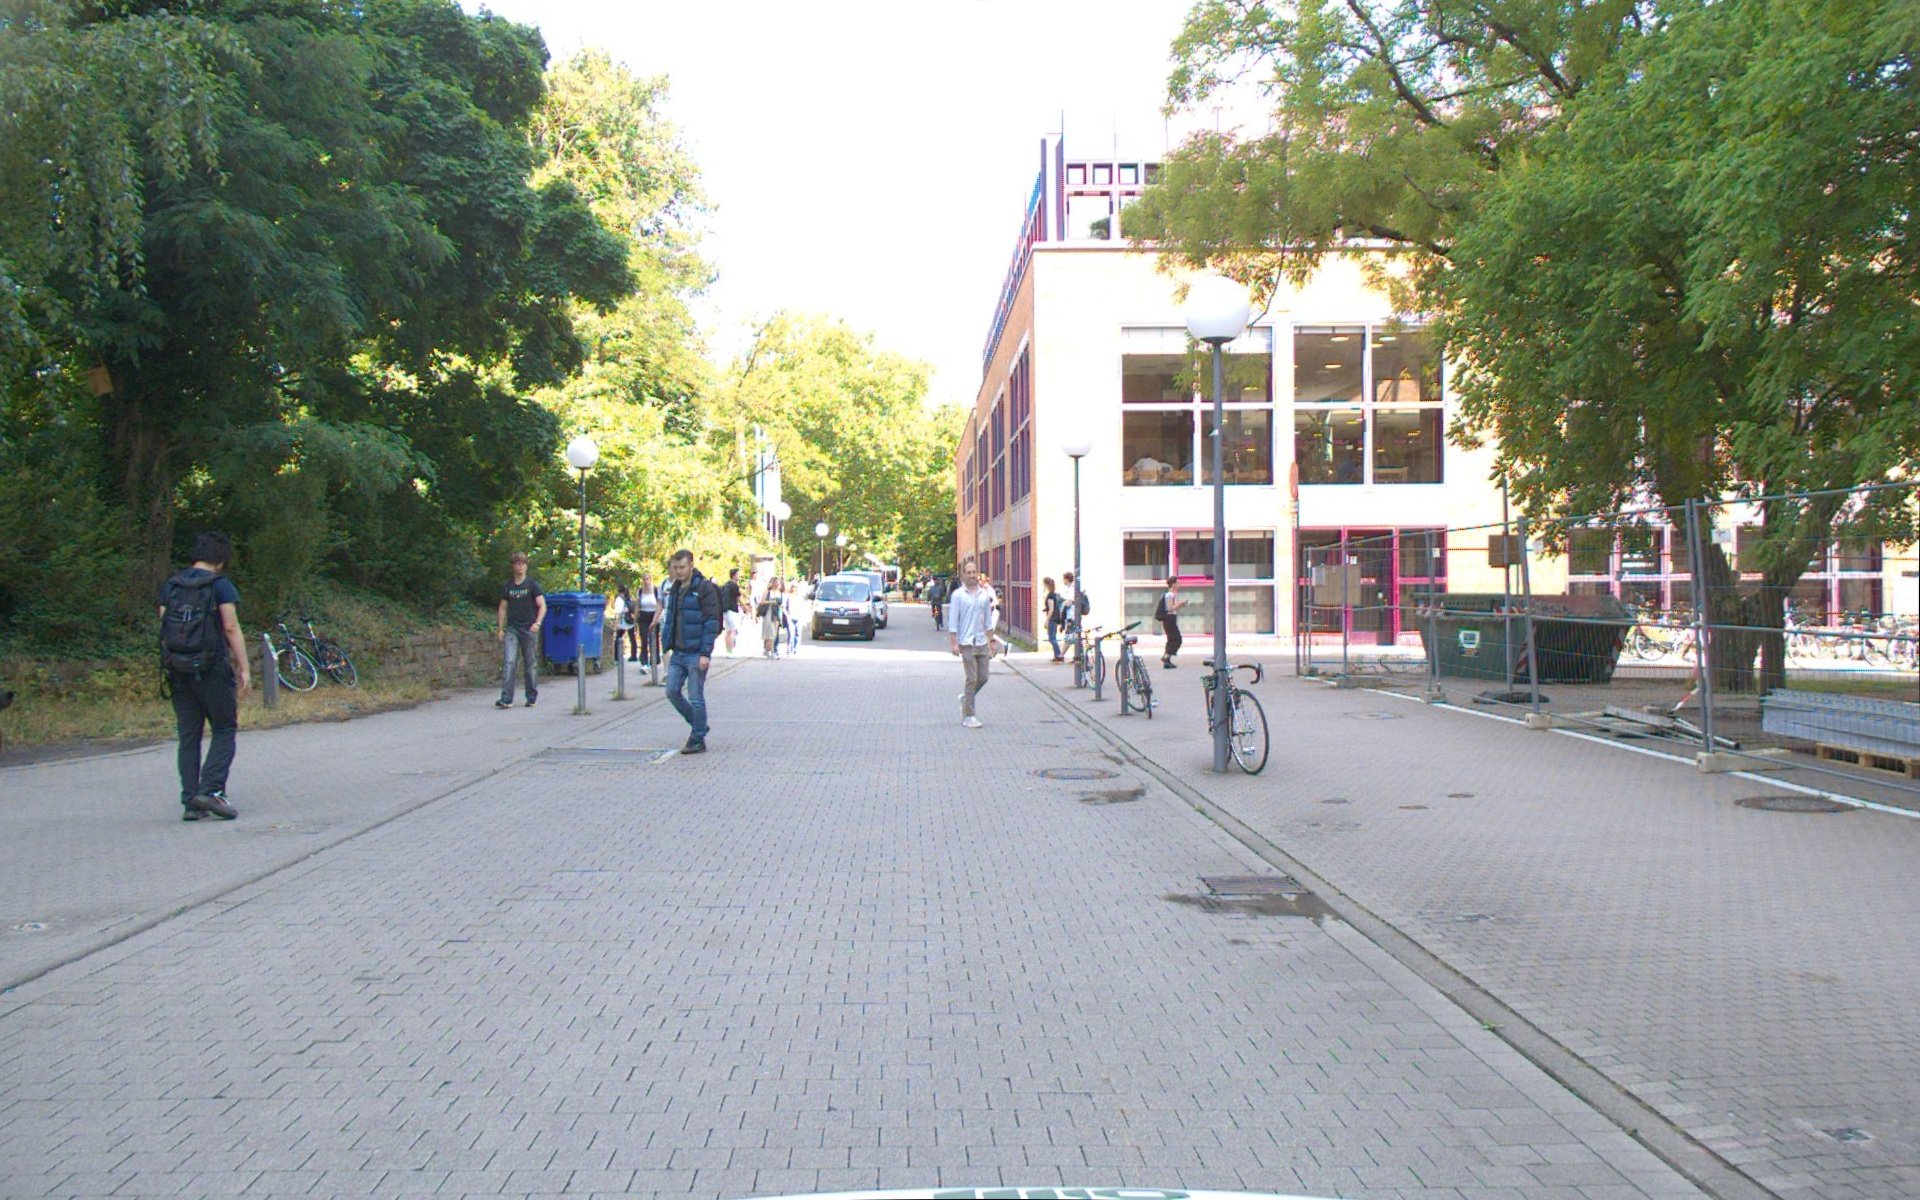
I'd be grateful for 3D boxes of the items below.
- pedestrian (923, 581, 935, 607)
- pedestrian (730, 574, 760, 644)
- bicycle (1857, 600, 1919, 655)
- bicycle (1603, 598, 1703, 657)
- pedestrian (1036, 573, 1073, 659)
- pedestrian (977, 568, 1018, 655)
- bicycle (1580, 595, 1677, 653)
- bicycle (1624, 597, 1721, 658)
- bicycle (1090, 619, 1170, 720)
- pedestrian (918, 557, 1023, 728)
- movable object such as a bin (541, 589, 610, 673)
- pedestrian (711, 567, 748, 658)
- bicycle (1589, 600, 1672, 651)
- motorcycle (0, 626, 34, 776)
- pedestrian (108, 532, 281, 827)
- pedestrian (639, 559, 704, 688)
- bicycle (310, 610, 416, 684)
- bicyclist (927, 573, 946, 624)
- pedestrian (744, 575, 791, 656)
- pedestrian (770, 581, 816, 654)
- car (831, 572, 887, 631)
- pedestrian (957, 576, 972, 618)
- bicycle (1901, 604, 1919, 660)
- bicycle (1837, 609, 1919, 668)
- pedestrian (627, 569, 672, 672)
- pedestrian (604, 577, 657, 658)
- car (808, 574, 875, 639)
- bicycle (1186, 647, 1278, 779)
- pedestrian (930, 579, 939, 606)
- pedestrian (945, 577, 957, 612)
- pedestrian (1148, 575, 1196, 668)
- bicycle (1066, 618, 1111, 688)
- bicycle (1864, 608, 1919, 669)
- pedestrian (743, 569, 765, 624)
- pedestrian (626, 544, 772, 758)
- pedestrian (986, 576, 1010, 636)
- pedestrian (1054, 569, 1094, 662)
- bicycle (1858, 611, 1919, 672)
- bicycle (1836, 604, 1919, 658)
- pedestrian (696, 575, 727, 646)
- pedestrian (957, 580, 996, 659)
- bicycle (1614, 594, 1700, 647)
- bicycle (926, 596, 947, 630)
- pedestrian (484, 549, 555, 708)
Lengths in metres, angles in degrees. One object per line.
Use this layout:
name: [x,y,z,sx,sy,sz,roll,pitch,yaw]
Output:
pedestrian: [-1.994,-0.381,106.058,0.710,1.702,0.748,-1,-1,-1]
pedestrian: [-5.144,0.224,39.622,0.669,1.649,0.912,1,0,-6]
bicycle: [21.250,0.630,37.154,1.956,1.189,0.474,2,0,-4]
bicycle: [13.923,0.553,33.268,1.772,1.129,0.524,1,0,2]
pedestrian: [1.924,0.326,33.611,0.682,1.702,0.588,-1,-1,5]
pedestrian: [0.815,0.251,36.032,0.809,1.876,0.684,1,-1,-4]
bicycle: [13.699,0.493,33.922,1.773,1.129,0.523,1,0,-3]
bicycle: [13.834,0.528,32.141,1.659,1.129,0.474,1,0,1]
bicycle: [1.994,0.801,19.633,0.694,1.112,1.748,0,0,-2]
pedestrian: [0.110,0.463,18.889,0.773,1.877,1.109,1,0,-26]
movable object such as a bin: [-6.507,0.502,28.040,0.694,1.359,1.240,3,0,8]
pedestrian: [-4.801,0.254,34.503,0.669,1.876,0.783,1,-1,-2]
bicycle: [15.554,0.584,38.379,1.772,1.129,0.473,1,0,-8]
motorcycle: [-7.752,0.719,12.694,1.989,1.065,0.471,3,1,41]
pedestrian: [-4.765,0.471,10.343,0.670,1.754,0.903,1,0,-4]
pedestrian: [-4.381,0.357,25.170,0.708,1.914,1.083,1,0,4]
bicycle: [-7.860,0.612,21.845,0.412,0.926,1.741,0,-1,13]
bicyclist: [-0.812,-0.053,56.813,0.575,1.746,0.665,0,0,-5]
pedestrian: [-4.055,0.326,34.940,0.867,1.702,0.559,1,-1,5]
pedestrian: [-3.647,0.375,36.152,0.867,1.569,0.743,0,0,3]
car: [-3.555,0.031,59.016,1.845,2.008,5.213,0,1,-2]
pedestrian: [0.196,-0.120,67.183,0.574,1.702,0.699,-1,-1,-1]
bicycle: [21.430,0.720,35.960,1.965,1.189,0.472,1,0,-18]
bicycle: [19.422,0.817,34.946,1.778,1.189,0.472,1,0,-19]
pedestrian: [-5.439,0.350,28.982,0.669,1.758,1.001,0,0,-6]
pedestrian: [-6.697,0.350,33.599,0.899,1.639,0.569,0,-1,35]
car: [-3.388,0.141,47.871,1.754,1.792,4.480,0,1,-2]
bicycle: [2.254,0.911,13.864,0.387,0.952,1.731,-2,1,-2]
pedestrian: [-1.900,-0.546,121.780,0.640,1.956,0.817,-1,-1,-1]
pedestrian: [-0.429,-0.249,81.295,0.574,1.702,0.817,-1,-1,-1]
pedestrian: [3.896,0.387,30.440,0.834,1.680,0.588,1,-1,5]
bicycle: [1.947,0.784,25.170,0.441,0.978,1.739,-3,1,-2]
bicycle: [19.094,0.781,33.070,1.769,1.189,0.474,2,0,-2]
pedestrian: [-7.130,-0.107,57.245,0.669,1.876,0.783,1,-1,-2]
pedestrian: [-2.407,0.445,15.341,0.869,1.890,1.031,1,0,29]
pedestrian: [1.138,0.187,50.076,0.669,1.777,0.783,1,-1,-2]
pedestrian: [2.268,0.310,32.883,0.750,1.826,0.588,-1,-1,5]
bicycle: [19.288,0.852,33.682,1.770,1.189,0.474,2,0,-4]
bicycle: [21.285,0.712,38.128,1.956,1.189,0.474,2,0,-4]
pedestrian: [-5.893,0.246,39.260,0.669,1.649,0.977,1,0,-6]
pedestrian: [0.352,0.412,35.187,0.765,1.649,0.684,1,-1,-4]
bicycle: [15.661,0.461,37.164,1.772,1.129,0.473,1,0,-8]
bicycle: [-0.811,0.438,56.810,0.575,1.102,1.906,0,1,-5]
pedestrian: [-5.434,0.349,20.458,0.669,1.905,1.119,1,0,-6]
